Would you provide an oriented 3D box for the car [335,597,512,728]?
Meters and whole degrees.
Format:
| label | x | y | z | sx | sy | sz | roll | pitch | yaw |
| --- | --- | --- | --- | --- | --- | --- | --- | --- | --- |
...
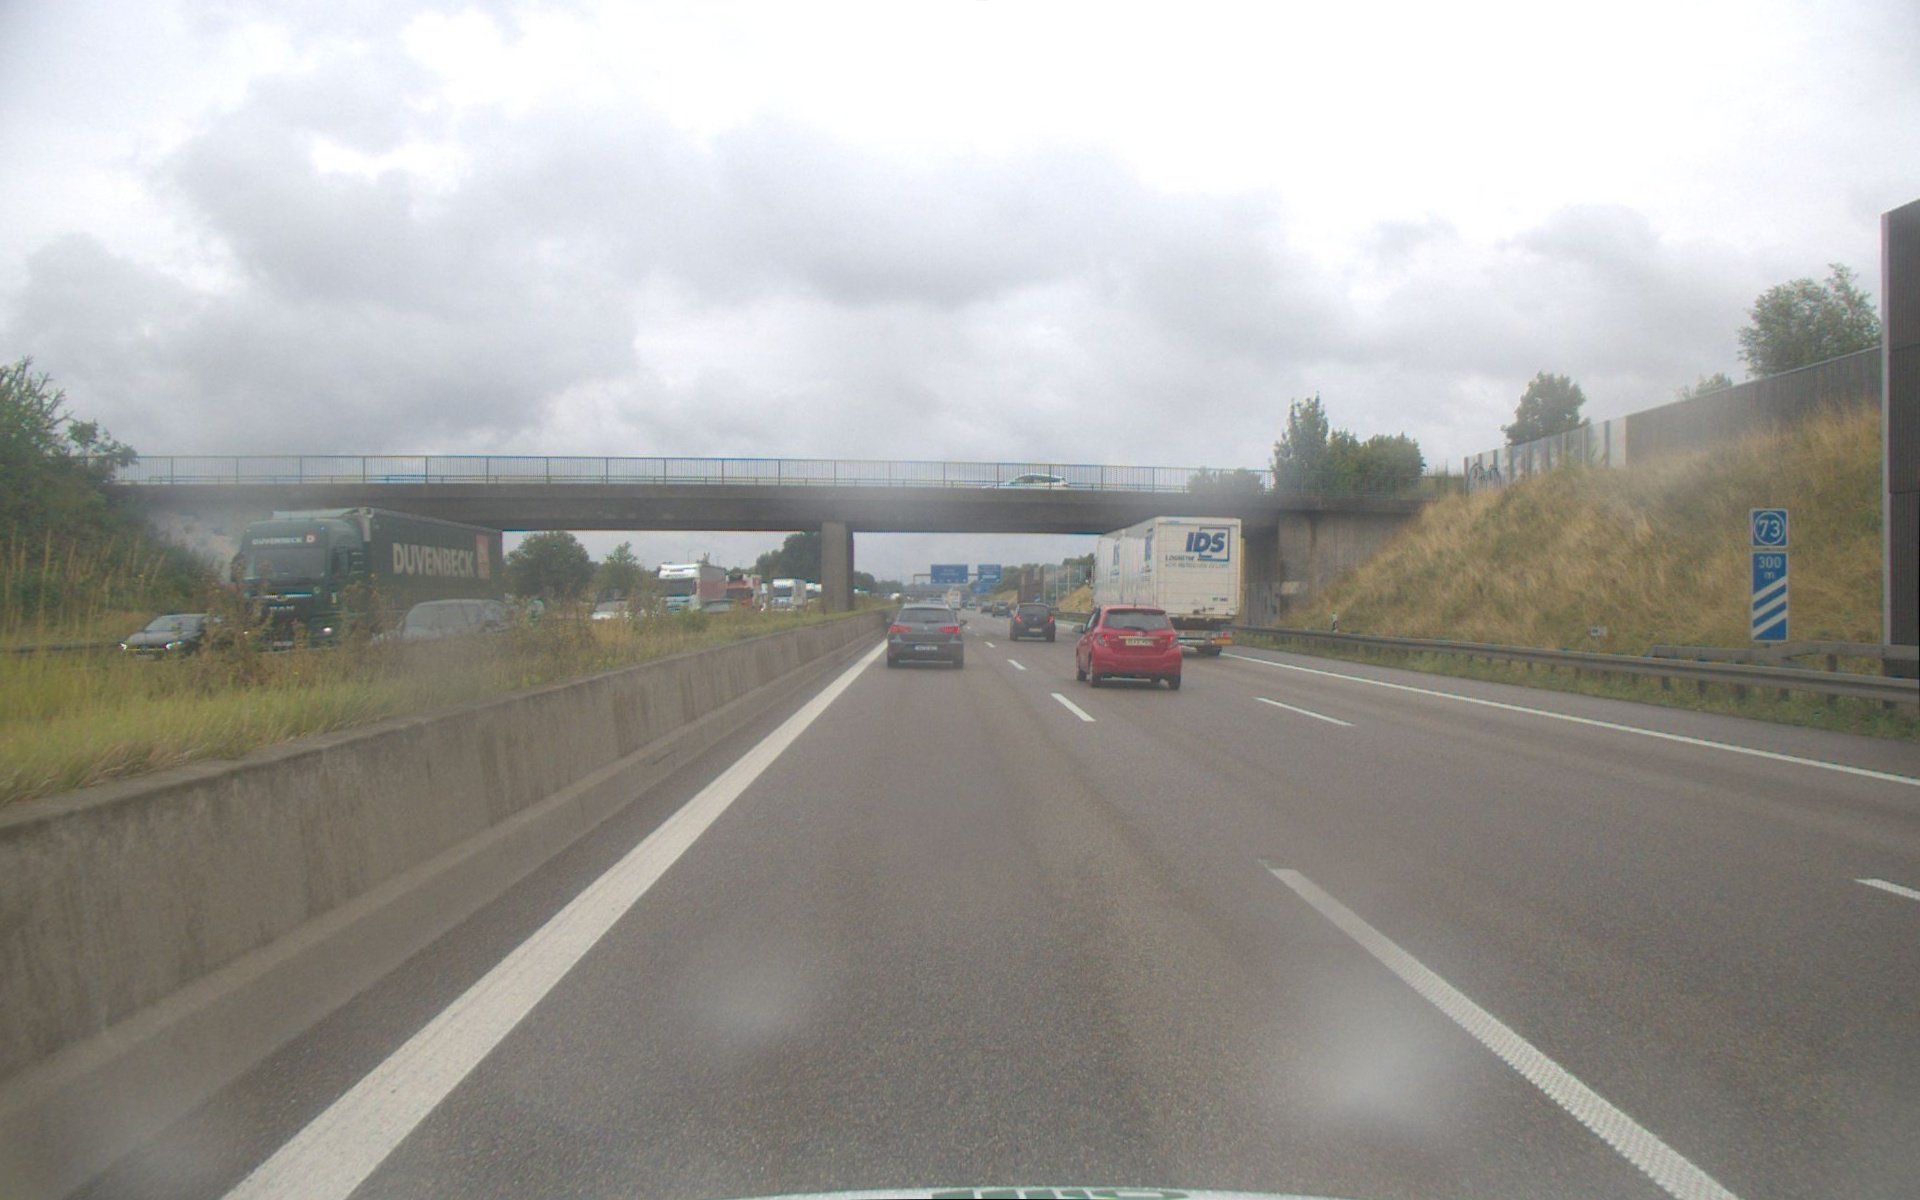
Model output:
| label | x | y | z | sx | sy | sz | roll | pitch | yaw |
| --- | --- | --- | --- | --- | --- | --- | --- | --- | --- |
| car | -9.078 | 0.994 | 28.320 | 1.749 | 2.049 | 3.999 | -1 | 0 | -1 |

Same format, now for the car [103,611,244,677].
| label | x | y | z | sx | sy | sz | roll | pitch | yaw |
| --- | --- | --- | --- | --- | --- | --- | --- | --- | --- |
| car | -20.355 | 1.104 | 42.996 | 1.678 | 1.580 | 4.412 | -1 | 0 | -2 |

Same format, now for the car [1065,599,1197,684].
| label | x | y | z | sx | sy | sz | roll | pitch | yaw |
| --- | --- | --- | --- | --- | --- | --- | --- | --- | --- |
| car | 3.168 | 0.727 | 31.528 | 1.853 | 1.472 | 4.683 | 1 | 0 | -2 |

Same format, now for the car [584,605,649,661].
| label | x | y | z | sx | sy | sz | roll | pitch | yaw |
| --- | --- | --- | --- | --- | --- | --- | --- | --- | --- |
| car | -13.325 | 1.256 | 64.342 | 1.749 | 2.049 | 3.999 | -1 | 0 | -1 |

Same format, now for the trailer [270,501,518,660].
| label | x | y | z | sx | sy | sz | roll | pitch | yaw |
| --- | --- | --- | --- | --- | --- | --- | --- | --- | --- |
| trailer | -16.883 | -0.440 | 50.939 | 2.701 | 4.121 | 14.515 | 2 | -1 | -1 |

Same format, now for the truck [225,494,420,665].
| label | x | y | z | sx | sy | sz | roll | pitch | yaw |
| --- | --- | --- | --- | --- | --- | --- | --- | --- | --- |
| truck | -16.774 | -0.472 | 44.001 | 2.701 | 4.121 | 6.253 | 2 | -1 | -1 |

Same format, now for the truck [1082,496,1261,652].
| label | x | y | z | sx | sy | sz | roll | pitch | yaw |
| --- | --- | --- | --- | --- | --- | --- | --- | --- | --- |
| truck | 6.778 | -0.658 | 57.017 | 3.217 | 4.370 | 19.026 | 2 | -1 | -1 |

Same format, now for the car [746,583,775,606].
| label | x | y | z | sx | sy | sz | roll | pitch | yaw |
| --- | --- | --- | --- | --- | --- | --- | --- | --- | --- |
| car | -18.895 | -0.522 | 156.654 | 2.113 | 2.049 | 5.236 | 2 | -1 | -1 |

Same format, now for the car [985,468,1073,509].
| label | x | y | z | sx | sy | sz | roll | pitch | yaw |
| --- | --- | --- | --- | --- | --- | --- | --- | --- | --- |
| car | 3.341 | -5.420 | 80.436 | 3.920 | 1.646 | 1.873 | 2 | -1 | -14 |

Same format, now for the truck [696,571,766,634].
| label | x | y | z | sx | sy | sz | roll | pitch | yaw |
| --- | --- | --- | --- | --- | --- | --- | --- | --- | --- |
| truck | -19.472 | 0.272 | 141.739 | 3.951 | 5.031 | 14.430 | 2 | -1 | -1 |

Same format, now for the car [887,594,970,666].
| label | x | y | z | sx | sy | sz | roll | pitch | yaw |
| --- | --- | --- | --- | --- | --- | --- | --- | --- | --- |
| car | -0.733 | 0.659 | 37.503 | 1.733 | 1.493 | 3.998 | 2 | -1 | -2 |

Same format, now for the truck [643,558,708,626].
| label | x | y | z | sx | sy | sz | roll | pitch | yaw |
| --- | --- | --- | --- | --- | --- | --- | --- | --- | --- |
| truck | -18.192 | -0.465 | 106.177 | 3.206 | 4.116 | 5.291 | 2 | -1 | -1 |

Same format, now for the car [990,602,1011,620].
| label | x | y | z | sx | sy | sz | roll | pitch | yaw |
| --- | --- | --- | --- | --- | --- | --- | --- | --- | --- |
| car | 4.114 | 1.148 | 169.028 | 1.808 | 1.716 | 3.998 | 2 | -1 | -2 |

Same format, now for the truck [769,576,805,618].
| label | x | y | z | sx | sy | sz | roll | pitch | yaw |
| --- | --- | --- | --- | --- | --- | --- | --- | --- | --- |
| truck | -19.132 | -0.255 | 183.048 | 2.916 | 4.394 | 9.667 | 2 | -1 | 0 |

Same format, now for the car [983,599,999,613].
| label | x | y | z | sx | sy | sz | roll | pitch | yaw |
| --- | --- | --- | --- | --- | --- | --- | --- | --- | --- |
| car | 4.078 | 0.795 | 218.739 | 1.953 | 1.844 | 4.227 | -1 | 0 | -1 |

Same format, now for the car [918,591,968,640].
| label | x | y | z | sx | sy | sz | roll | pitch | yaw |
| --- | --- | --- | --- | --- | --- | --- | --- | --- | --- |
| car | -0.687 | 0.625 | 67.218 | 1.953 | 1.893 | 3.999 | -1 | 0 | -1 |

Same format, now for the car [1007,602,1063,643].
| label | x | y | z | sx | sy | sz | roll | pitch | yaw |
| --- | --- | --- | --- | --- | --- | --- | --- | --- | --- |
| car | 2.941 | 0.868 | 65.572 | 1.882 | 1.548 | 4.621 | 1 | 0 | -1 |

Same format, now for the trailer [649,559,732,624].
| label | x | y | z | sx | sy | sz | roll | pitch | yaw |
| --- | --- | --- | --- | --- | --- | --- | --- | --- | --- |
| trailer | -18.308 | -0.434 | 113.598 | 3.256 | 4.048 | 15.740 | 2 | -1 | -1 |
